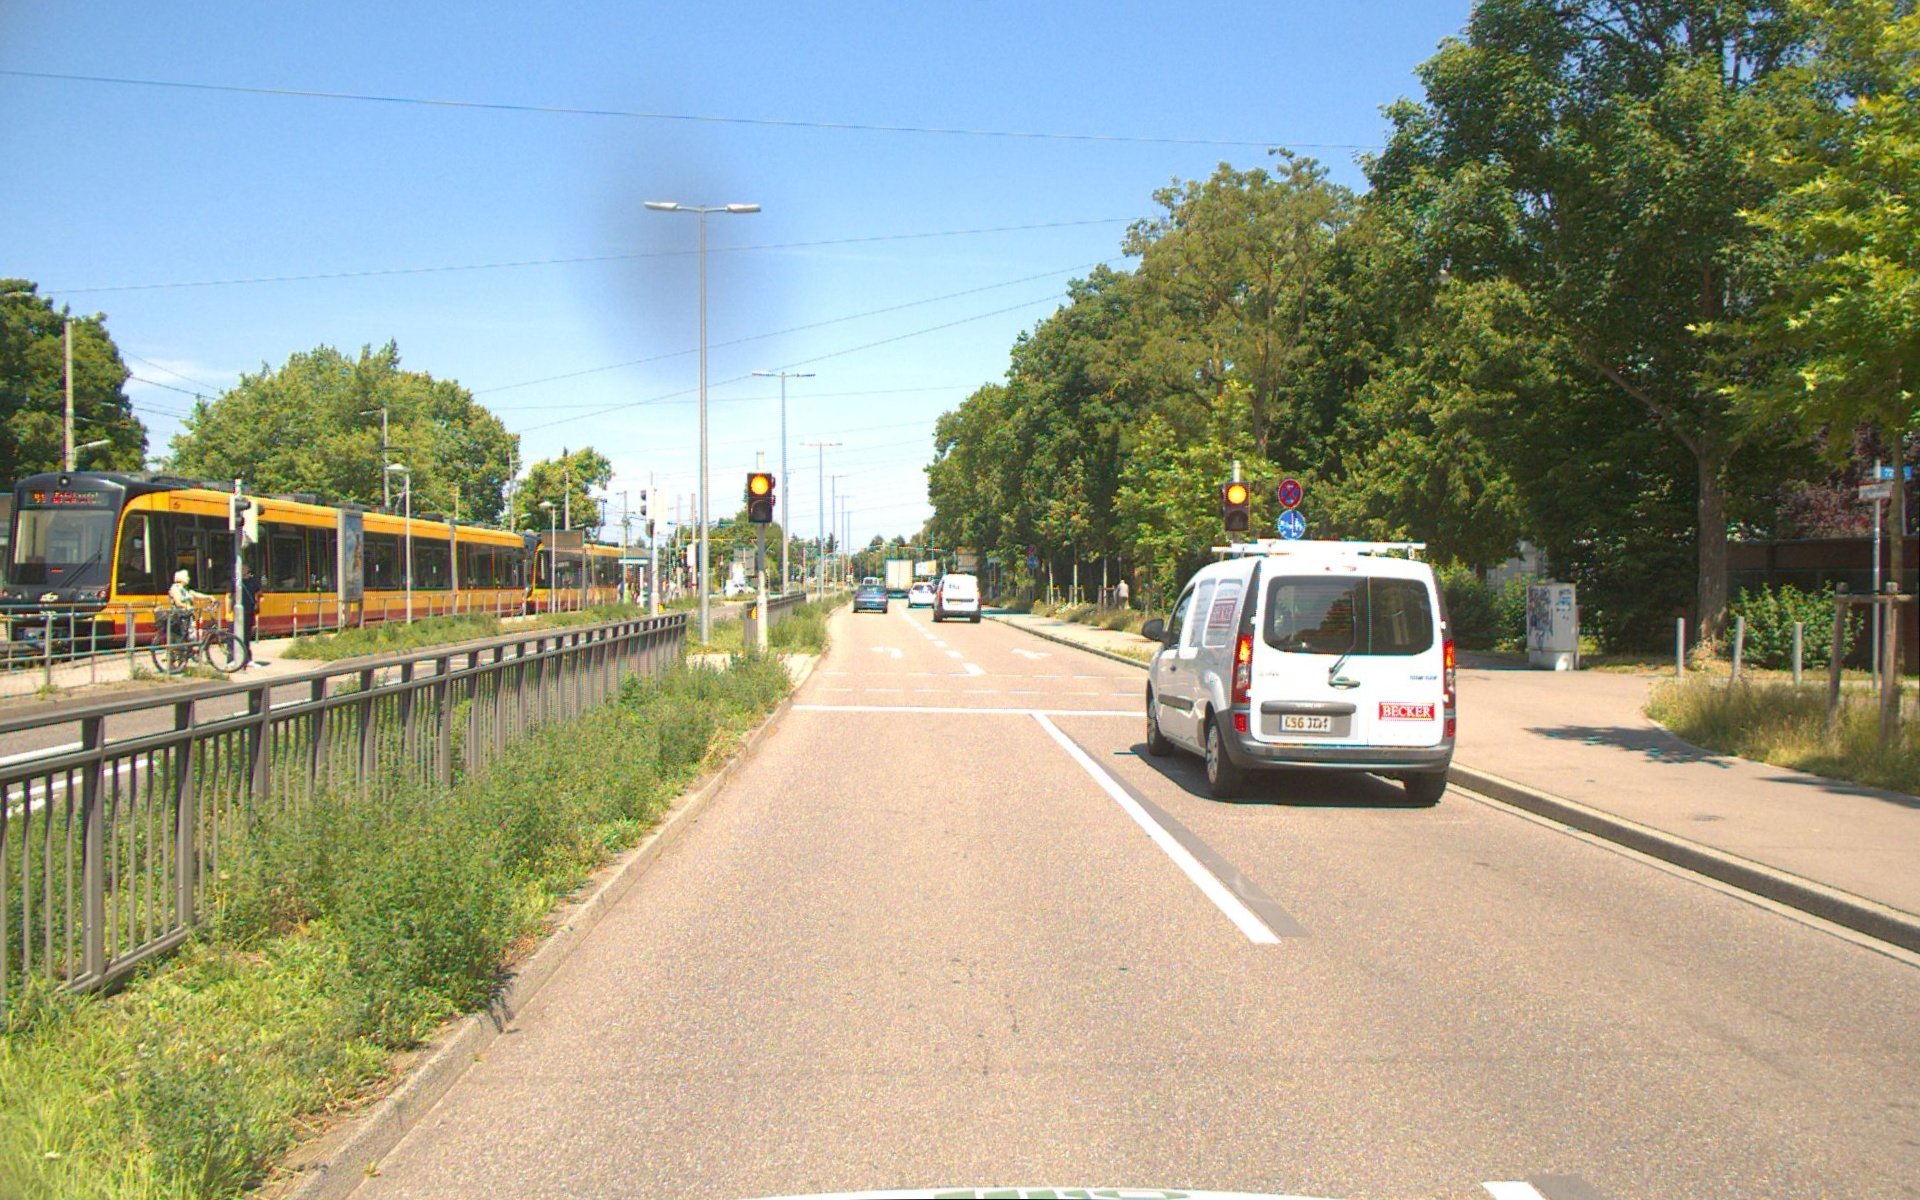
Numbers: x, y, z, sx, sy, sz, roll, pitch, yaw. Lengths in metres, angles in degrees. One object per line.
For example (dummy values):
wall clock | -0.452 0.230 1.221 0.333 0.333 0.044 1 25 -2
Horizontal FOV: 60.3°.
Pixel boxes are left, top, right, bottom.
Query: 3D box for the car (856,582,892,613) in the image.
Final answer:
car | -4.227 -0.134 81.682 1.765 1.512 3.998 0 1 -2

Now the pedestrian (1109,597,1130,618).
pedestrian | 6.889 0.317 71.521 0.664 0.862 1.772 0 0 -3

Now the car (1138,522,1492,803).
car | 2.705 0.412 13.675 1.787 1.914 4.454 1 0 -2

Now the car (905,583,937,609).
car | -2.391 -0.237 101.032 1.767 1.566 3.997 0 0 -3

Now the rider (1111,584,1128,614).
rider | 6.905 -0.057 71.461 0.664 1.304 0.533 0 0 -4

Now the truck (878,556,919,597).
truck | -6.208 -2.333 165.174 3.821 3.879 10.786 0 1 -3

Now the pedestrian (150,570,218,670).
pedestrian | -13.100 0.334 27.937 0.802 1.657 0.705 0 0 2

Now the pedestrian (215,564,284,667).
pedestrian | -12.849 0.266 29.900 0.939 1.828 0.704 0 0 26

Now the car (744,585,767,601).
car | -22.211 -0.783 179.471 1.960 1.678 3.985 0 1 -15

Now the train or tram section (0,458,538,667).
train or tram section | -17.525 -0.832 48.294 2.732 3.732 37.496 0 0 -3

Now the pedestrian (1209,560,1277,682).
pedestrian | 4.493 0.323 26.233 1.024 1.882 0.758 1 0 10

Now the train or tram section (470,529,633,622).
train or tram section | -19.119 -1.103 80.008 2.732 3.732 25.984 0 0 -3

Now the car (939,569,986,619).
car | 0.121 -0.254 64.432 1.692 1.845 4.001 1 1 1

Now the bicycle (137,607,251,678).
bicycle | -12.879 0.707 27.813 1.824 1.177 0.243 0 0 2
